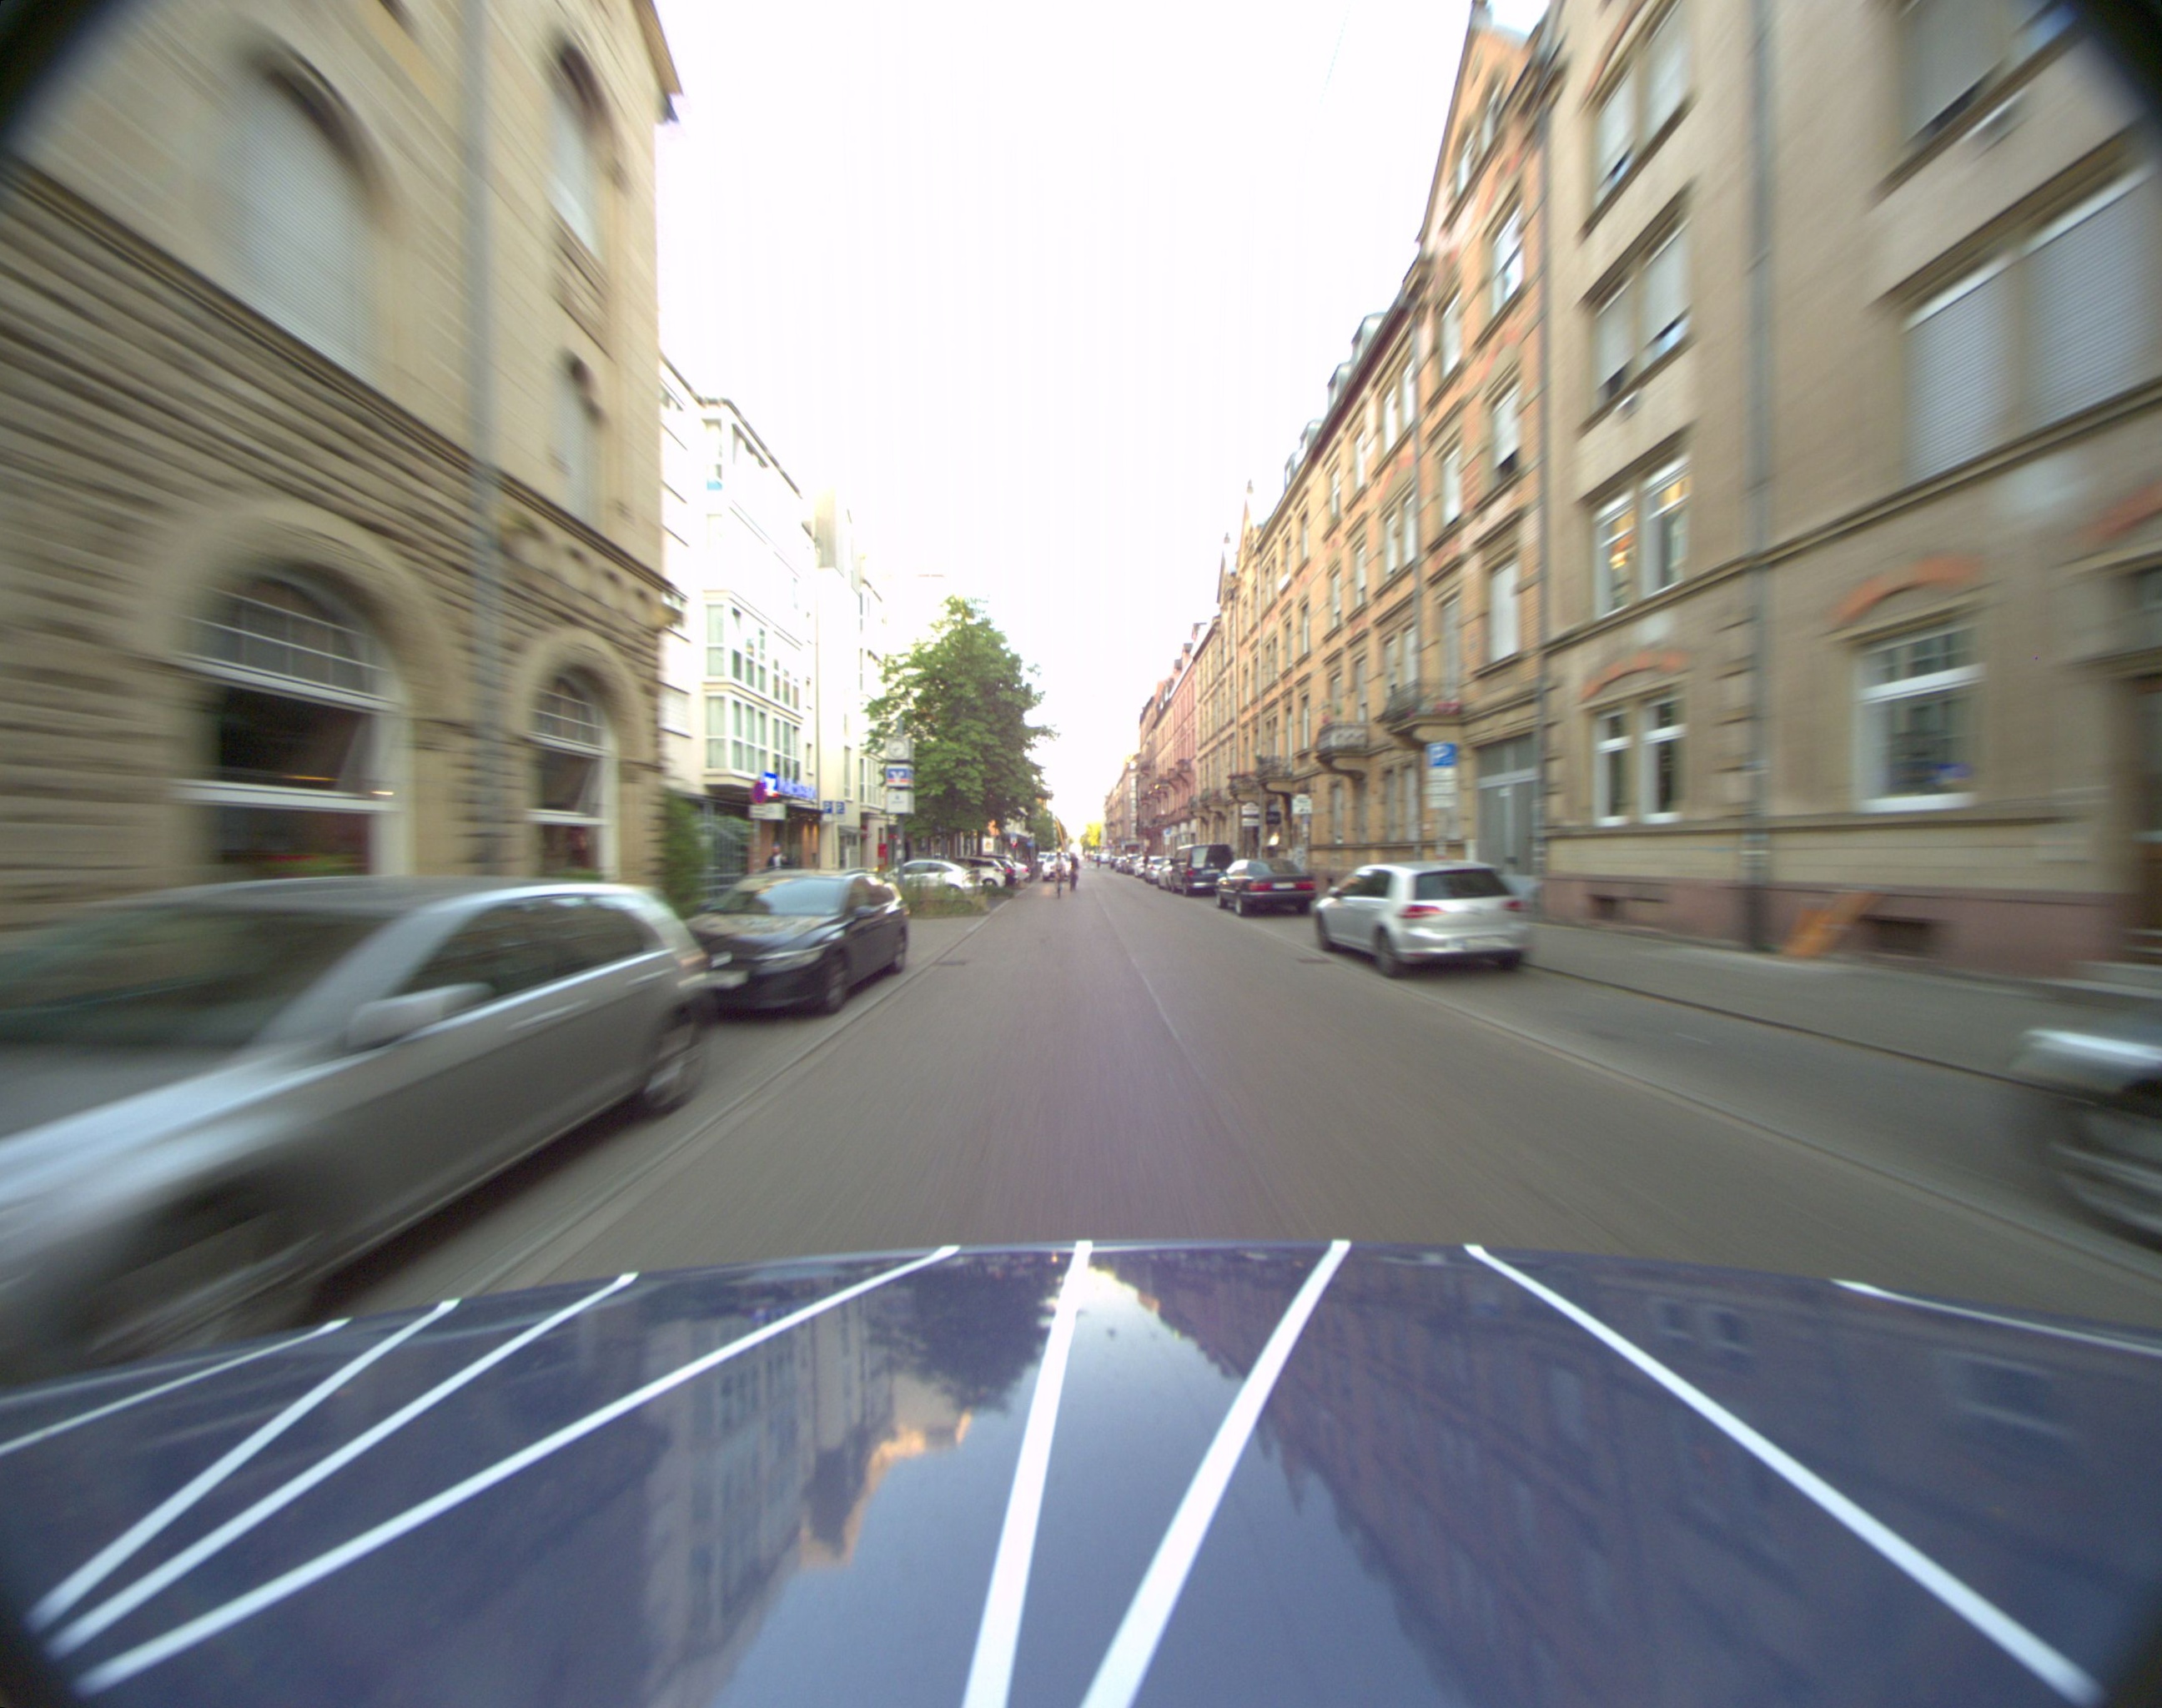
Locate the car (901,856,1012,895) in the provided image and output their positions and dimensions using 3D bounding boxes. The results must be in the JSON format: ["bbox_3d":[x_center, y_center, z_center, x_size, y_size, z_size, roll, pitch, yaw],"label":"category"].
[{"bbox_3d":[-5.119,0.867,31.551,4.301,1.519,1.823,-1,0,-1],"label":"car"}]

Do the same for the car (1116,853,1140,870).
[{"bbox_3d":[4.486,0.729,73.270,1.758,1.426,4.056,-6,0,-3],"label":"car"}]

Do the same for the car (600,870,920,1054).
[{"bbox_3d":[-3.276,0.986,8.892,1.768,1.476,4.557,1,0,0],"label":"car"}]

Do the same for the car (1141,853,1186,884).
[{"bbox_3d":[4.516,0.773,42.259,1.758,1.466,4.056,-6,0,-3],"label":"car"}]

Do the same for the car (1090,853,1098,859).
[{"bbox_3d":[3.048,0.449,183.194,1.757,1.426,4.057,-6,0,1],"label":"car"}]

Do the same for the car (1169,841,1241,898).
[{"bbox_3d":[4.712,0.569,29.503,1.874,1.949,4.292,-4,0,-2],"label":"car"}]

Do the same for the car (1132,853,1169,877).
[{"bbox_3d":[4.634,0.735,51.310,1.758,1.426,4.056,-6,0,-3],"label":"car"}]

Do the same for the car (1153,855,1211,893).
[{"bbox_3d":[4.533,0.855,34.662,1.758,1.466,4.056,-6,0,-3],"label":"car"}]

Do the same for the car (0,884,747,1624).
[{"bbox_3d":[-3.320,0.971,3.303,1.768,1.476,4.556,1,0,-1],"label":"car"}]

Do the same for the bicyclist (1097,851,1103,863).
[{"bbox_3d":[2.298,0.377,93.826,0.686,1.503,1.036,-1,0,0],"label":"bicyclist"}]

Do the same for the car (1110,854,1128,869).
[{"bbox_3d":[4.350,0.845,87.852,1.757,1.426,4.057,-6,0,-1],"label":"car"}]

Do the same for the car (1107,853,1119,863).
[{"bbox_3d":[5.685,0.697,135.595,1.757,1.426,4.057,-6,0,1],"label":"car"}]

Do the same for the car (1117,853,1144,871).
[{"bbox_3d":[4.381,0.713,67.633,1.758,1.426,4.056,-6,0,-3],"label":"car"}]

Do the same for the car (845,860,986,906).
[{"bbox_3d":[-5.420,0.940,25.347,4.301,1.443,1.823,-1,0,-1],"label":"car"}]

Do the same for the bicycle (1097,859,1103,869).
[{"bbox_3d":[2.307,1.216,93.800,0.686,1.145,2.115,-1,0,0],"label":"bicycle"}]

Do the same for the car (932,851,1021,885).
[{"bbox_3d":[-5.345,0.708,39.283,4.301,1.666,1.823,-1,0,-1],"label":"car"}]

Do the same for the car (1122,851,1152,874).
[{"bbox_3d":[4.508,0.685,61.623,1.758,1.663,4.056,-6,0,-3],"label":"car"}]

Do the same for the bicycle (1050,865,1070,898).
[{"bbox_3d":[-0.763,1.020,28.345,0.686,1.145,2.115,-1,0,0],"label":"bicycle"}]

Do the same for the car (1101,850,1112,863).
[{"bbox_3d":[4.799,0.459,145.189,1.757,2.264,4.057,-6,0,1],"label":"car"}]

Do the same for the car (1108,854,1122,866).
[{"bbox_3d":[4.829,0.829,107.514,1.757,1.426,4.057,-6,0,1],"label":"car"}]

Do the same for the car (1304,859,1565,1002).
[{"bbox_3d":[4.713,0.904,10.873,1.757,1.466,4.057,-6,0,1],"label":"car"}]

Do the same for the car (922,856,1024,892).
[{"bbox_3d":[-4.761,0.860,33.949,4.301,1.519,1.823,-1,0,-1],"label":"car"}]

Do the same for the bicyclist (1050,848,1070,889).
[{"bbox_3d":[-0.765,0.527,28.259,0.686,1.503,0.973,-1,0,0],"label":"bicyclist"}]

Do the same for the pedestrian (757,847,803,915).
[{"bbox_3d":[-7.973,0.692,20.158,0.851,1.756,0.834,1,1,3],"label":"pedestrian"}]

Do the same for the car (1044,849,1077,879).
[{"bbox_3d":[-1.262,0.617,48.343,1.957,1.729,4.284,-3,0,0],"label":"car"}]

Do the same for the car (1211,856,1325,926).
[{"bbox_3d":[4.746,0.868,19.946,1.757,1.466,4.279,-6,0,-1],"label":"car"}]

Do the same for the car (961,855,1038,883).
[{"bbox_3d":[-4.736,0.853,44.416,4.301,1.519,1.823,-1,0,-1],"label":"car"}]

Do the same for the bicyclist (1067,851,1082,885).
[{"bbox_3d":[-0.284,0.635,34.232,0.686,1.503,0.973,-1,0,0],"label":"bicyclist"}]

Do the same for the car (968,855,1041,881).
[{"bbox_3d":[-4.657,0.828,46.889,4.301,1.519,1.823,-1,0,-1],"label":"car"}]

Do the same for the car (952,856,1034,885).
[{"bbox_3d":[-4.832,0.920,42.105,4.301,1.527,1.823,-1,0,-1],"label":"car"}]

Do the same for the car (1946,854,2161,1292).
[{"bbox_3d":[4.864,0.797,1.452,1.757,1.583,4.057,-3,0,0],"label":"car"}]

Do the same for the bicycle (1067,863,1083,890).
[{"bbox_3d":[-0.279,1.003,34.241,0.686,1.145,2.115,-1,0,0],"label":"bicycle"}]
